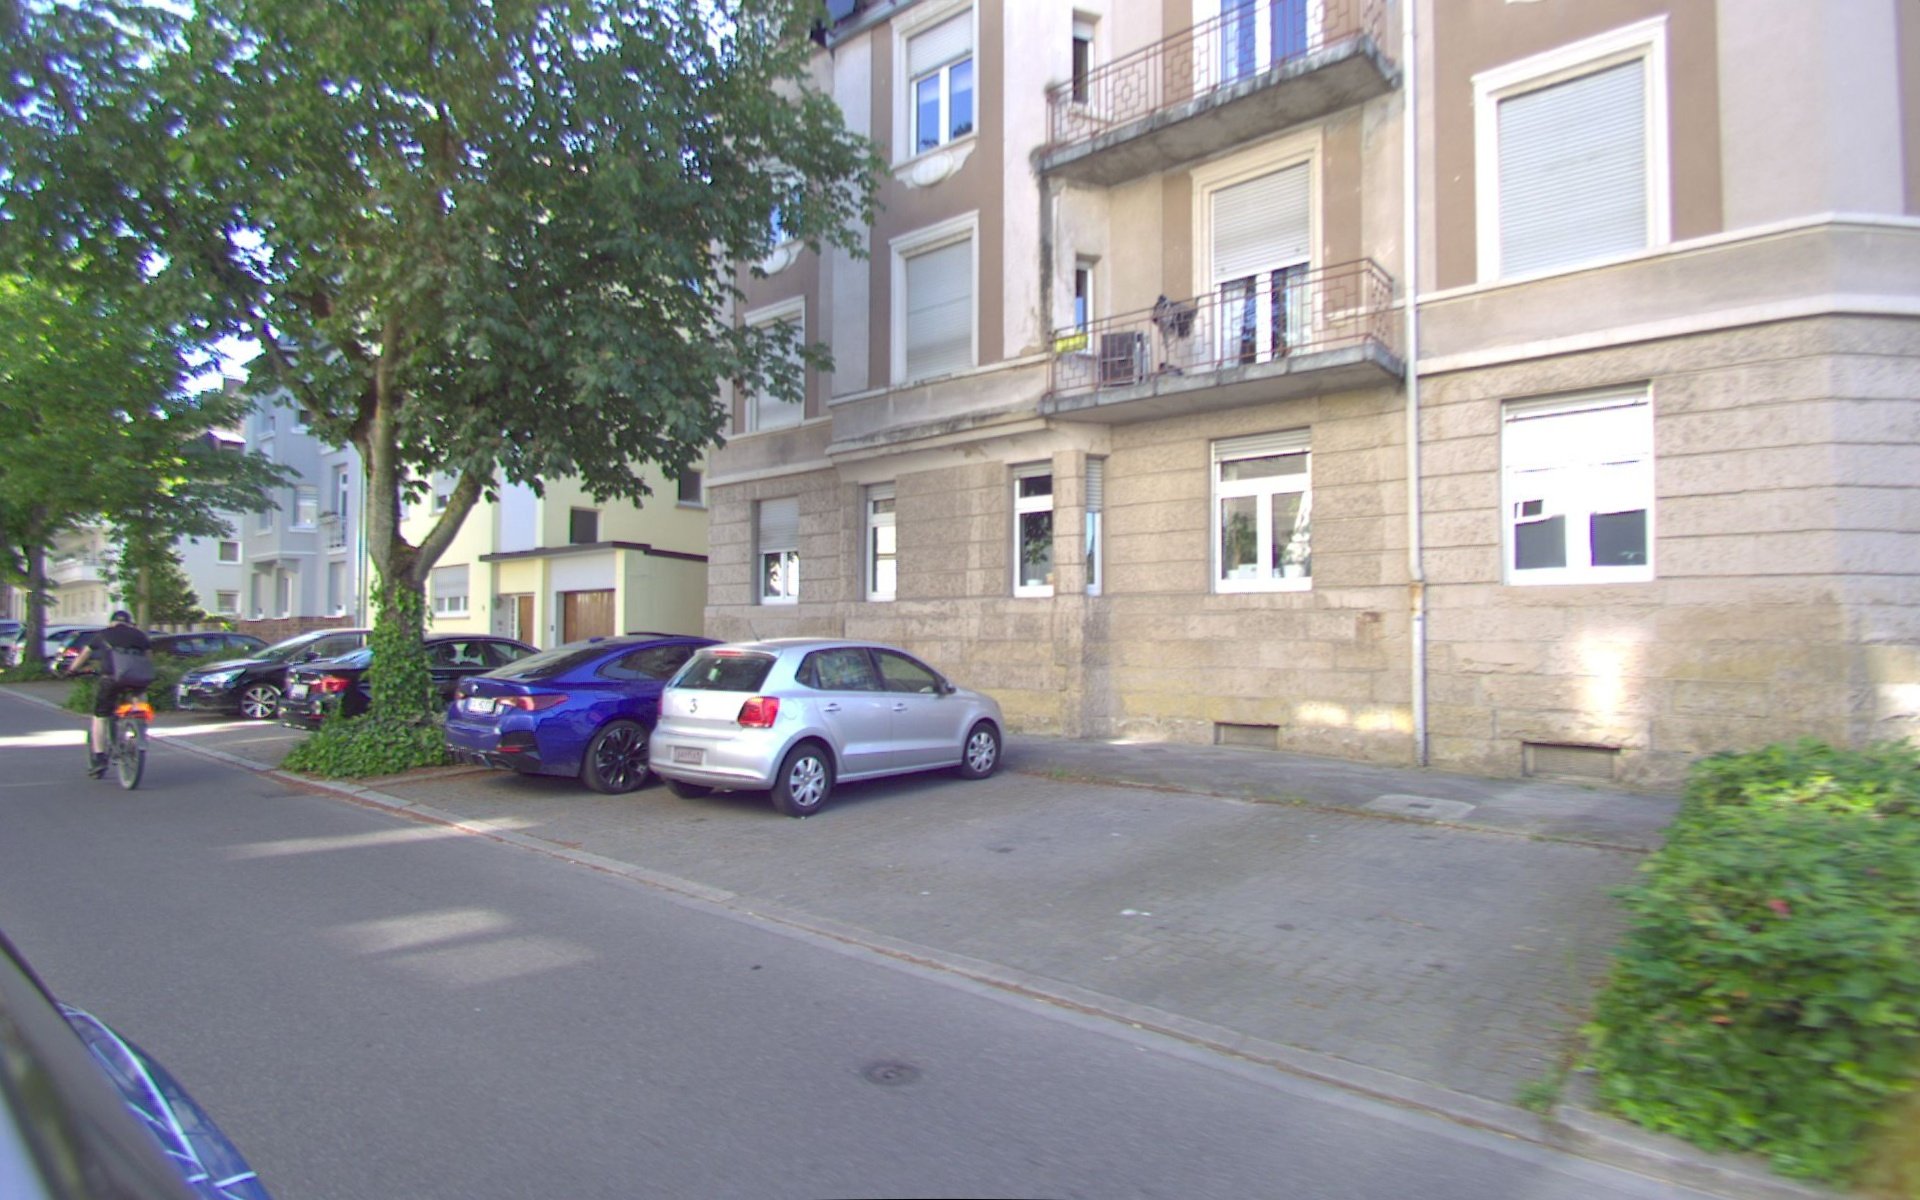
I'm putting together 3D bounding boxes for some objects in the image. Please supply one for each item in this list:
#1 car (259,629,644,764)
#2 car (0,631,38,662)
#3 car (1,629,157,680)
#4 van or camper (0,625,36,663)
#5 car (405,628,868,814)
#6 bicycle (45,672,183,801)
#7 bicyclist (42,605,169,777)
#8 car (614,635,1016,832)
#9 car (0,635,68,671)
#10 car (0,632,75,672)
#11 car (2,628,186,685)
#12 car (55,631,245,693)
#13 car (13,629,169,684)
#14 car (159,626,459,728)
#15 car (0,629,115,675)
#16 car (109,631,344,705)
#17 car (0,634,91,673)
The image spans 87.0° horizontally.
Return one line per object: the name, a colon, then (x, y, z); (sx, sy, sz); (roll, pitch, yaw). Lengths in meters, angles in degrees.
car: (-6.851, 1.190, 14.080); (1.866, 1.490, 4.430); (0, -1, 38)
car: (-48.405, 2.333, 50.118); (1.662, 1.510, 3.903); (-2, -2, 42)
car: (-29.868, 1.805, 34.373); (1.848, 1.587, 3.821); (-2, -2, 43)
van or camper: (-50.418, 2.241, 51.719); (1.962, 1.929, 4.451); (-1, -3, 40)
car: (-3.181, 1.076, 10.785); (1.866, 1.490, 4.430); (0, -1, 38)
bicycle: (-8.271, 1.272, 9.866); (1.889, 1.087, 0.712); (-2, -4, 41)
bicyclist: (-8.287, 0.850, 9.809); (1.136, 1.548, 0.714); (-2, -4, 41)
car: (-1.193, 1.066, 9.519); (1.728, 1.441, 3.545); (-2, -2, 38)
car: (-41.475, 2.267, 43.697); (1.859, 1.510, 4.145); (-2, -3, 39)
car: (-39.236, 2.113, 41.627); (1.876, 1.604, 3.948); (-2, -3, 38)
car: (-26.094, 1.654, 30.589); (1.805, 1.496, 3.982); (-2, -1, 39)
car: (-22.218, 1.647, 27.832); (3.974, 1.455, 1.802); (0, 0, -42)
car: (-27.685, 1.749, 32.318); (1.766, 1.587, 3.485); (-2, -2, 35)
car: (-11.594, 1.275, 18.297); (1.995, 1.511, 4.138); (0, 0, 34)
car: (-34.715, 1.935, 37.991); (1.822, 1.665, 4.340); (-2, -4, 41)
car: (-16.296, 1.469, 22.630); (1.769, 1.432, 3.947); (-3, -3, 39)
car: (-36.650, 2.085, 39.456); (1.695, 1.479, 3.947); (-2, -3, 39)
